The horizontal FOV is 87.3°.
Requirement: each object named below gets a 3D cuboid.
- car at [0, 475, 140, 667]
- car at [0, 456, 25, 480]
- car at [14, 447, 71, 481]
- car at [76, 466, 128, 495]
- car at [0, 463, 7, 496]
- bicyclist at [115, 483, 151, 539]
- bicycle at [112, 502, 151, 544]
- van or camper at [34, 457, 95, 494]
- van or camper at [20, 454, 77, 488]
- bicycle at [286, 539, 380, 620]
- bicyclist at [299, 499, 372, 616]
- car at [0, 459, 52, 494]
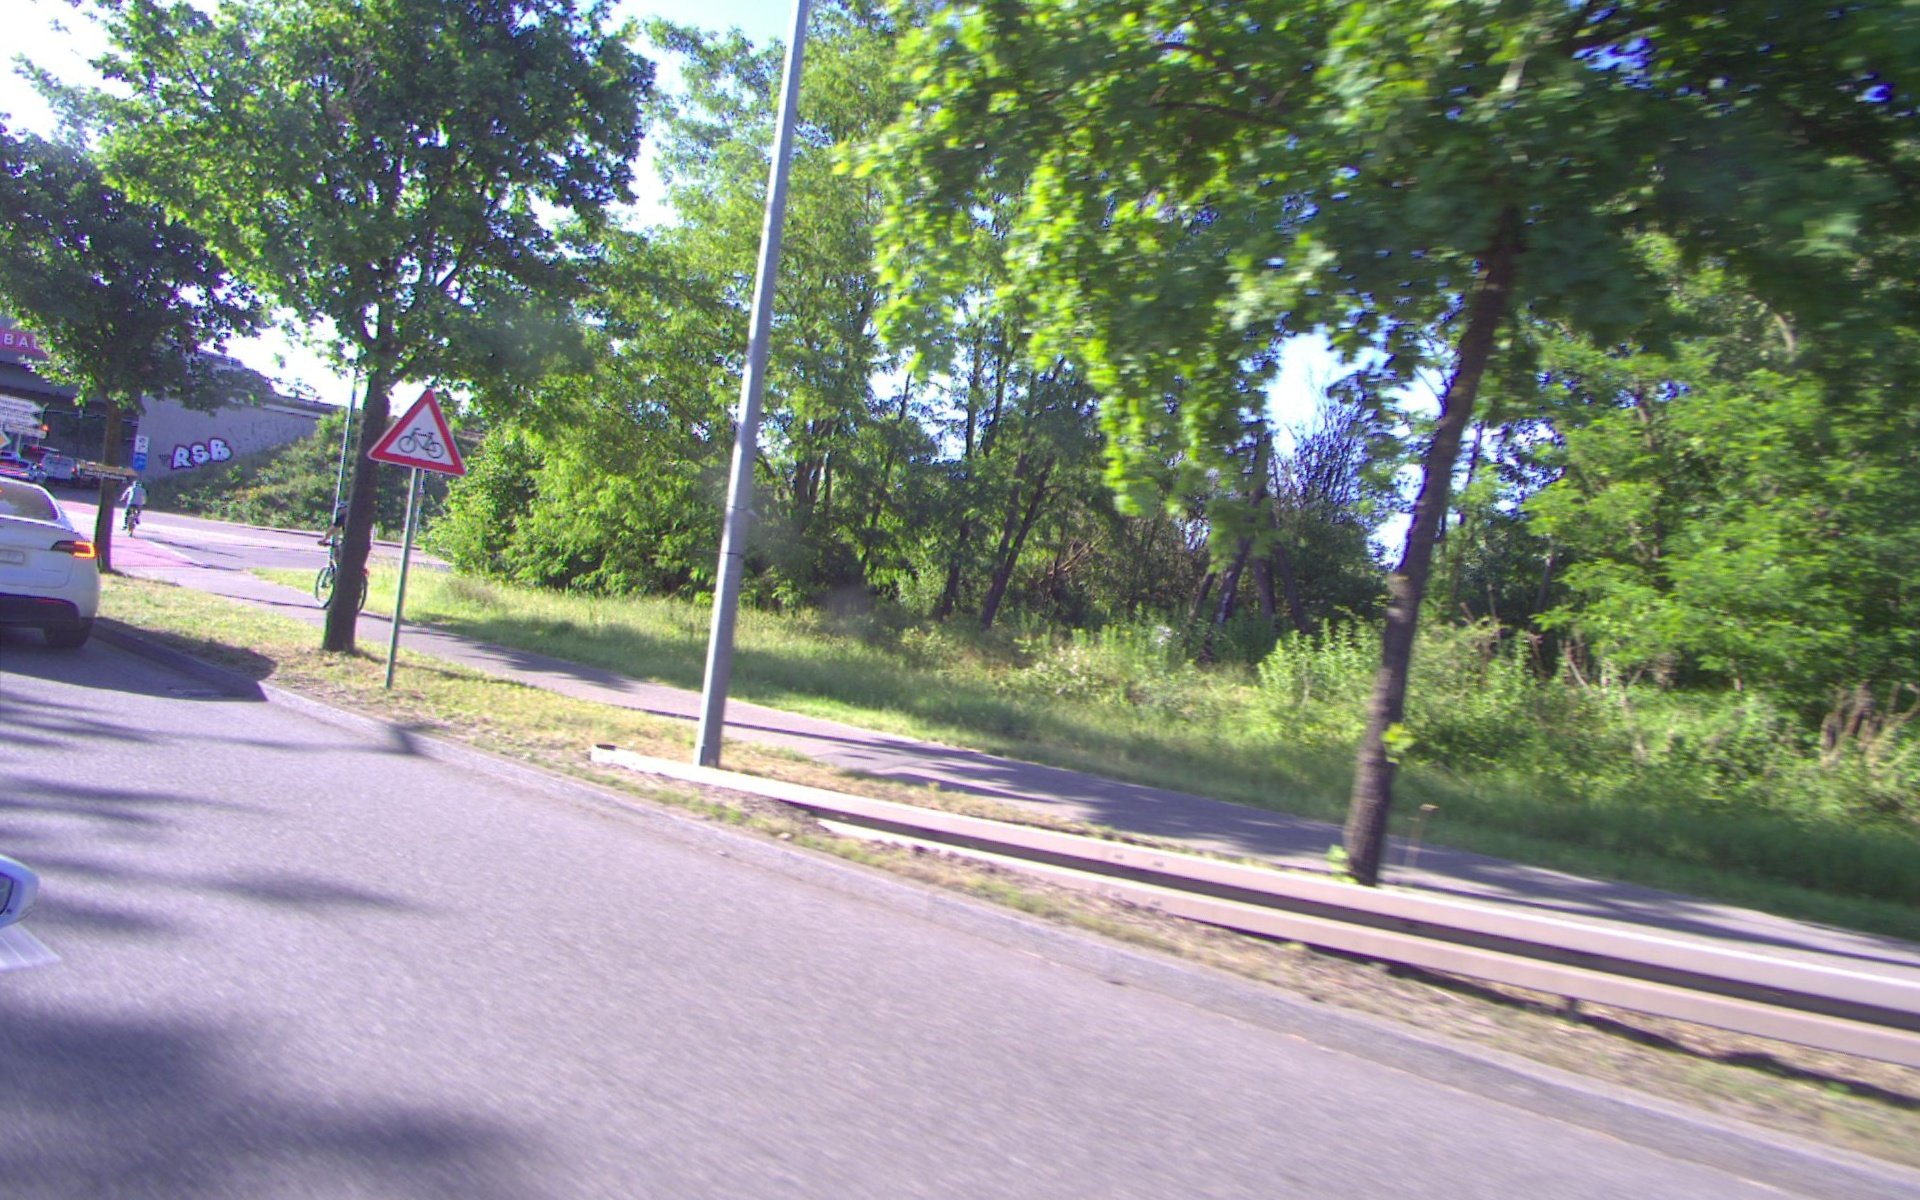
[{"bbox_3d":[-10.414,-0.492,10.259,4.340,1.659,1.917,7,-3,35],"label":"car"},{"bbox_3d":[-66.368,-9.196,69.333,1.694,1.470,3.716,8,1,-27],"label":"car"},{"bbox_3d":[-69.640,-10.276,76.430,1.851,1.971,4.563,8,1,-27],"label":"car"},{"bbox_3d":[-59.015,-8.188,69.269,1.694,1.541,3.716,8,1,-27],"label":"car"},{"bbox_3d":[-42.934,-5.349,43.525,1.594,1.452,3.645,9,1,-32],"label":"car"},{"bbox_3d":[-26.150,-2.819,31.788,0.743,1.640,0.901,4,4,-43],"label":"bicyclist"},{"bbox_3d":[-26.161,-2.442,31.743,0.740,1.127,2.420,4,3,-44],"label":"bicycle"},{"bbox_3d":[-55.237,-7.665,62.142,1.813,1.812,4.506,9,0,-31],"label":"van or camper"},{"bbox_3d":[-60.884,-8.598,67.238,1.740,1.836,3.928,8,1,-28],"label":"van or camper"},{"bbox_3d":[-10.397,-0.356,16.655,2.087,1.110,0.693,8,3,41],"label":"bicycle"},{"bbox_3d":[-10.293,-0.700,16.578,0.935,1.800,0.673,9,3,41],"label":"bicyclist"},{"bbox_3d":[-48.972,-6.444,52.347,1.752,1.494,4.248,8,1,-33],"label":"car"}]
